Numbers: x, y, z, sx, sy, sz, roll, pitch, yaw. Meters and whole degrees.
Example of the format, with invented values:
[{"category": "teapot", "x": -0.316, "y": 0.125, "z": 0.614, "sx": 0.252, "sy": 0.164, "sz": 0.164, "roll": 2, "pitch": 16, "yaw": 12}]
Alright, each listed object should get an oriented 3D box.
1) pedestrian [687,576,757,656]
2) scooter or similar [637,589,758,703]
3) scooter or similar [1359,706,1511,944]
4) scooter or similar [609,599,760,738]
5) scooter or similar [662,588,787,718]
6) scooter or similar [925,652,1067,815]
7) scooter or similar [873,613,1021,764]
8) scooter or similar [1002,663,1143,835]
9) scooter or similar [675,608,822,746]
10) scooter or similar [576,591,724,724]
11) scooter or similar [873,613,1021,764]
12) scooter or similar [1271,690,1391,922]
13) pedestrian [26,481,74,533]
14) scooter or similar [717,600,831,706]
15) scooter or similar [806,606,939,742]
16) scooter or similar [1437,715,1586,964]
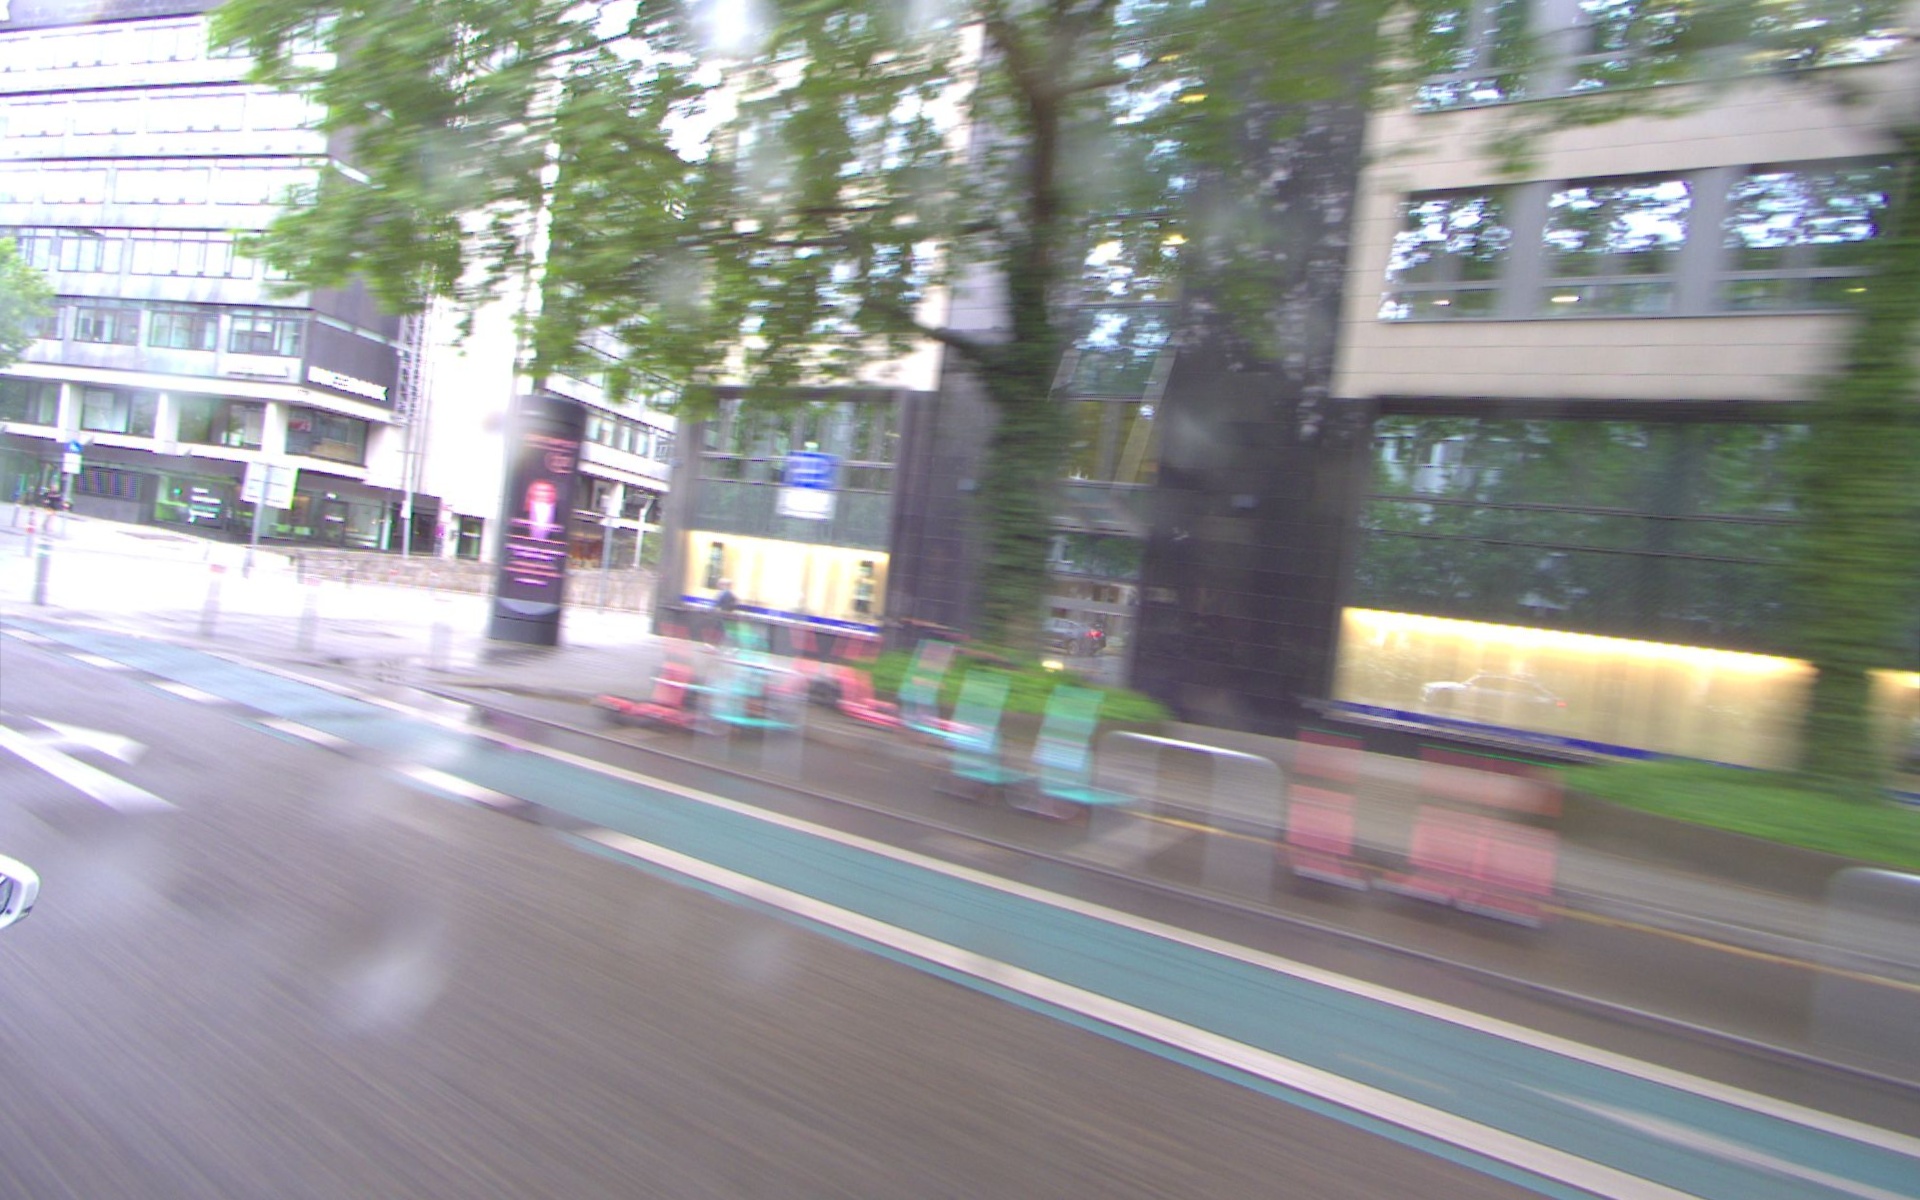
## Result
[{"category": "pedestrian", "x": -6.105, "y": 0.418, "z": 25.840, "sx": 1.255, "sy": 1.872, "sz": 0.919, "roll": 6, "pitch": -1, "yaw": 30}, {"category": "scooter or similar", "x": -3.201, "y": 0.552, "z": 12.249, "sx": 1.270, "sy": 1.212, "sz": 0.489, "roll": 6, "pitch": 0, "yaw": 22}, {"category": "scooter or similar", "x": 3.141, "y": 1.396, "z": 6.591, "sx": 0.528, "sy": 1.295, "sz": 1.289, "roll": 9, "pitch": 2, "yaw": 35}, {"category": "scooter or similar", "x": -2.764, "y": 0.707, "z": 10.165, "sx": 0.482, "sy": 1.276, "sz": 1.287, "roll": 10, "pitch": 3, "yaw": 42}, {"category": "scooter or similar", "x": -2.691, "y": 0.588, "z": 11.464, "sx": 1.272, "sy": 1.276, "sz": 0.488, "roll": 9, "pitch": 3, "yaw": 31}, {"category": "scooter or similar", "x": 0.338, "y": 1.117, "z": 8.715, "sx": 0.481, "sy": 1.252, "sz": 1.290, "roll": 9, "pitch": 2, "yaw": 33}, {"category": "scooter or similar", "x": -0.140, "y": 0.864, "z": 10.127, "sx": 1.272, "sy": 1.276, "sz": 0.488, "roll": 9, "pitch": 3, "yaw": 31}, {"category": "scooter or similar", "x": 0.962, "y": 1.182, "z": 8.336, "sx": 0.481, "sy": 1.252, "sz": 1.290, "roll": 9, "pitch": 2, "yaw": 33}, {"category": "scooter or similar", "x": -2.128, "y": 0.790, "z": 10.214, "sx": 0.482, "sy": 1.276, "sz": 1.287, "roll": 10, "pitch": 3, "yaw": 42}, {"category": "scooter or similar", "x": -3.230, "y": 0.619, "z": 10.542, "sx": 0.482, "sy": 1.276, "sz": 1.287, "roll": 10, "pitch": 3, "yaw": 42}, {"category": "scooter or similar", "x": -0.140, "y": 0.864, "z": 10.127, "sx": 1.272, "sy": 1.276, "sz": 0.488, "roll": 9, "pitch": 3, "yaw": 31}, {"category": "scooter or similar", "x": 2.532, "y": 1.329, "z": 6.878, "sx": 0.527, "sy": 1.295, "sz": 1.293, "roll": 8, "pitch": 2, "yaw": 20}, {"category": "pedestrian", "x": -33.643, "y": -3.431, "z": 37.195, "sx": 1.167, "sy": 1.716, "sz": 0.807, "roll": 7, "pitch": -1, "yaw": 29}, {"category": "scooter or similar", "x": -2.419, "y": 0.683, "z": 13.140, "sx": 1.269, "sy": 1.212, "sz": 0.489, "roll": 7, "pitch": 0, "yaw": 0}, {"category": "scooter or similar", "x": -0.976, "y": 0.792, "z": 11.083, "sx": 1.272, "sy": 1.276, "sz": 0.488, "roll": 9, "pitch": 3, "yaw": 31}, {"category": "scooter or similar", "x": 3.520, "y": 1.436, "z": 6.378, "sx": 0.528, "sy": 1.295, "sz": 1.289, "roll": 9, "pitch": 2, "yaw": 35}]
